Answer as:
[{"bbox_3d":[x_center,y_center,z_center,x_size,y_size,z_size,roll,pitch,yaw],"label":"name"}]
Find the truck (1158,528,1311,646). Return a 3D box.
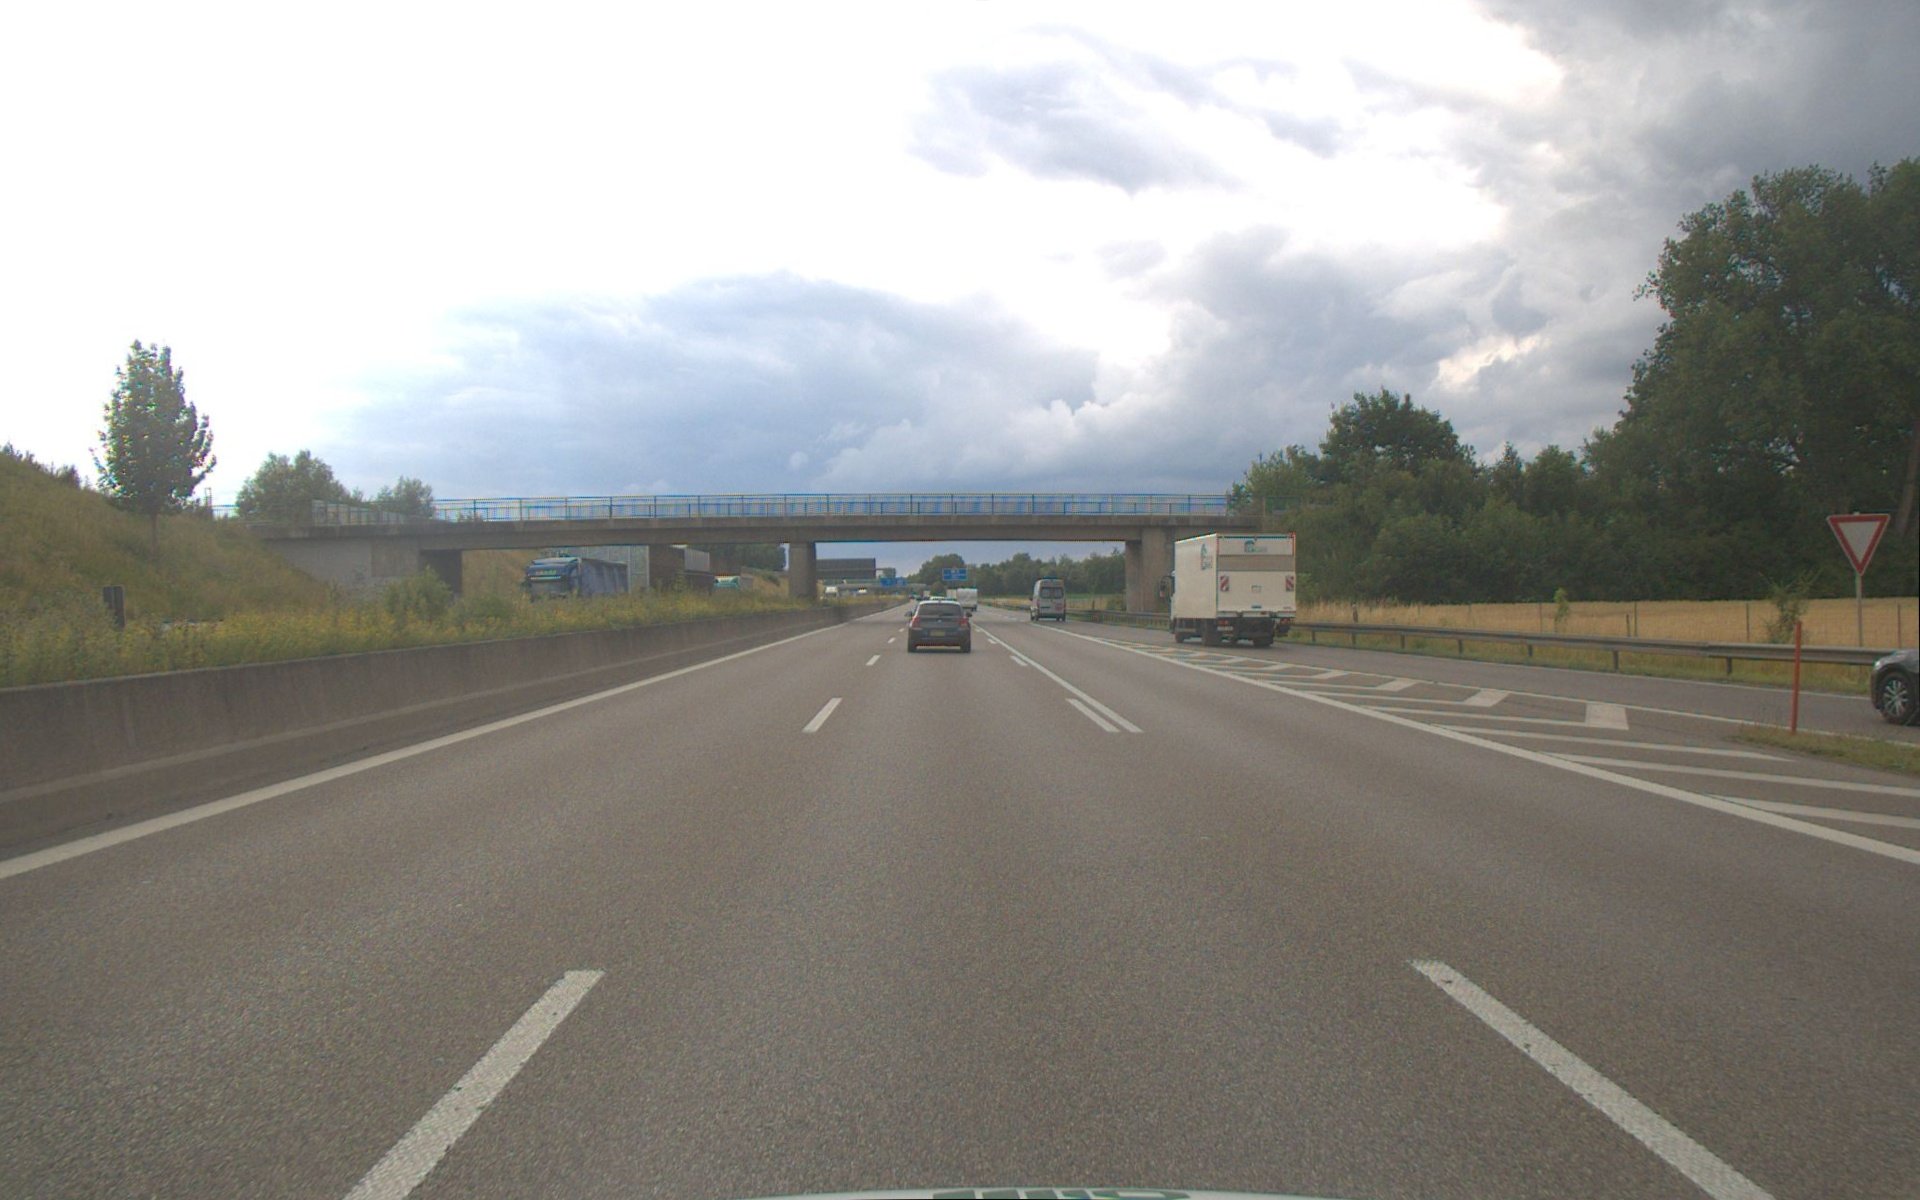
[{"bbox_3d":[8.911,-0.398,54.828,3.043,3.531,8.884,1,0,-4],"label":"truck"}]

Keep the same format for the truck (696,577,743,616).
[{"bbox_3d":[-24.235,-0.334,167.252,2.936,3.748,13.006,0,0,-1],"label":"truck"}]

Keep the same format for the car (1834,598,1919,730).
[{"bbox_3d":[12.661,0.765,19.274,1.881,1.577,4.915,-1,0,-7],"label":"car"}]

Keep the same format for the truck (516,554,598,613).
[{"bbox_3d":[-21.431,-0.847,88.285,2.851,2.998,6.114,1,0,-1],"label":"truck"}]

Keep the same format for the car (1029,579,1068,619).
[{"bbox_3d":[5.873,-0.088,110.122,2.176,2.613,6.255,0,0,-1],"label":"car"}]

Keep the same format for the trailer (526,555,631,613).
[{"bbox_3d":[-21.524,-0.849,94.218,2.861,3.007,13.968,1,0,-1],"label":"trailer"}]

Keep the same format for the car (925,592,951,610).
[{"bbox_3d":[-1.752,0.076,131.293,1.953,1.321,3.999,-1,0,-2],"label":"car"}]

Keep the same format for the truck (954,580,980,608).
[{"bbox_3d":[0.717,-0.672,191.728,2.655,3.016,12.443,1,0,-1],"label":"truck"}]

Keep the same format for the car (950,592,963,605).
[{"bbox_3d":[-0.518,-0.233,259.857,1.953,2.049,3.999,-1,0,-2],"label":"car"}]

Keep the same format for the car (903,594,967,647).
[{"bbox_3d":[-0.708,0.550,46.433,1.708,1.413,3.999,1,0,-1],"label":"car"}]
